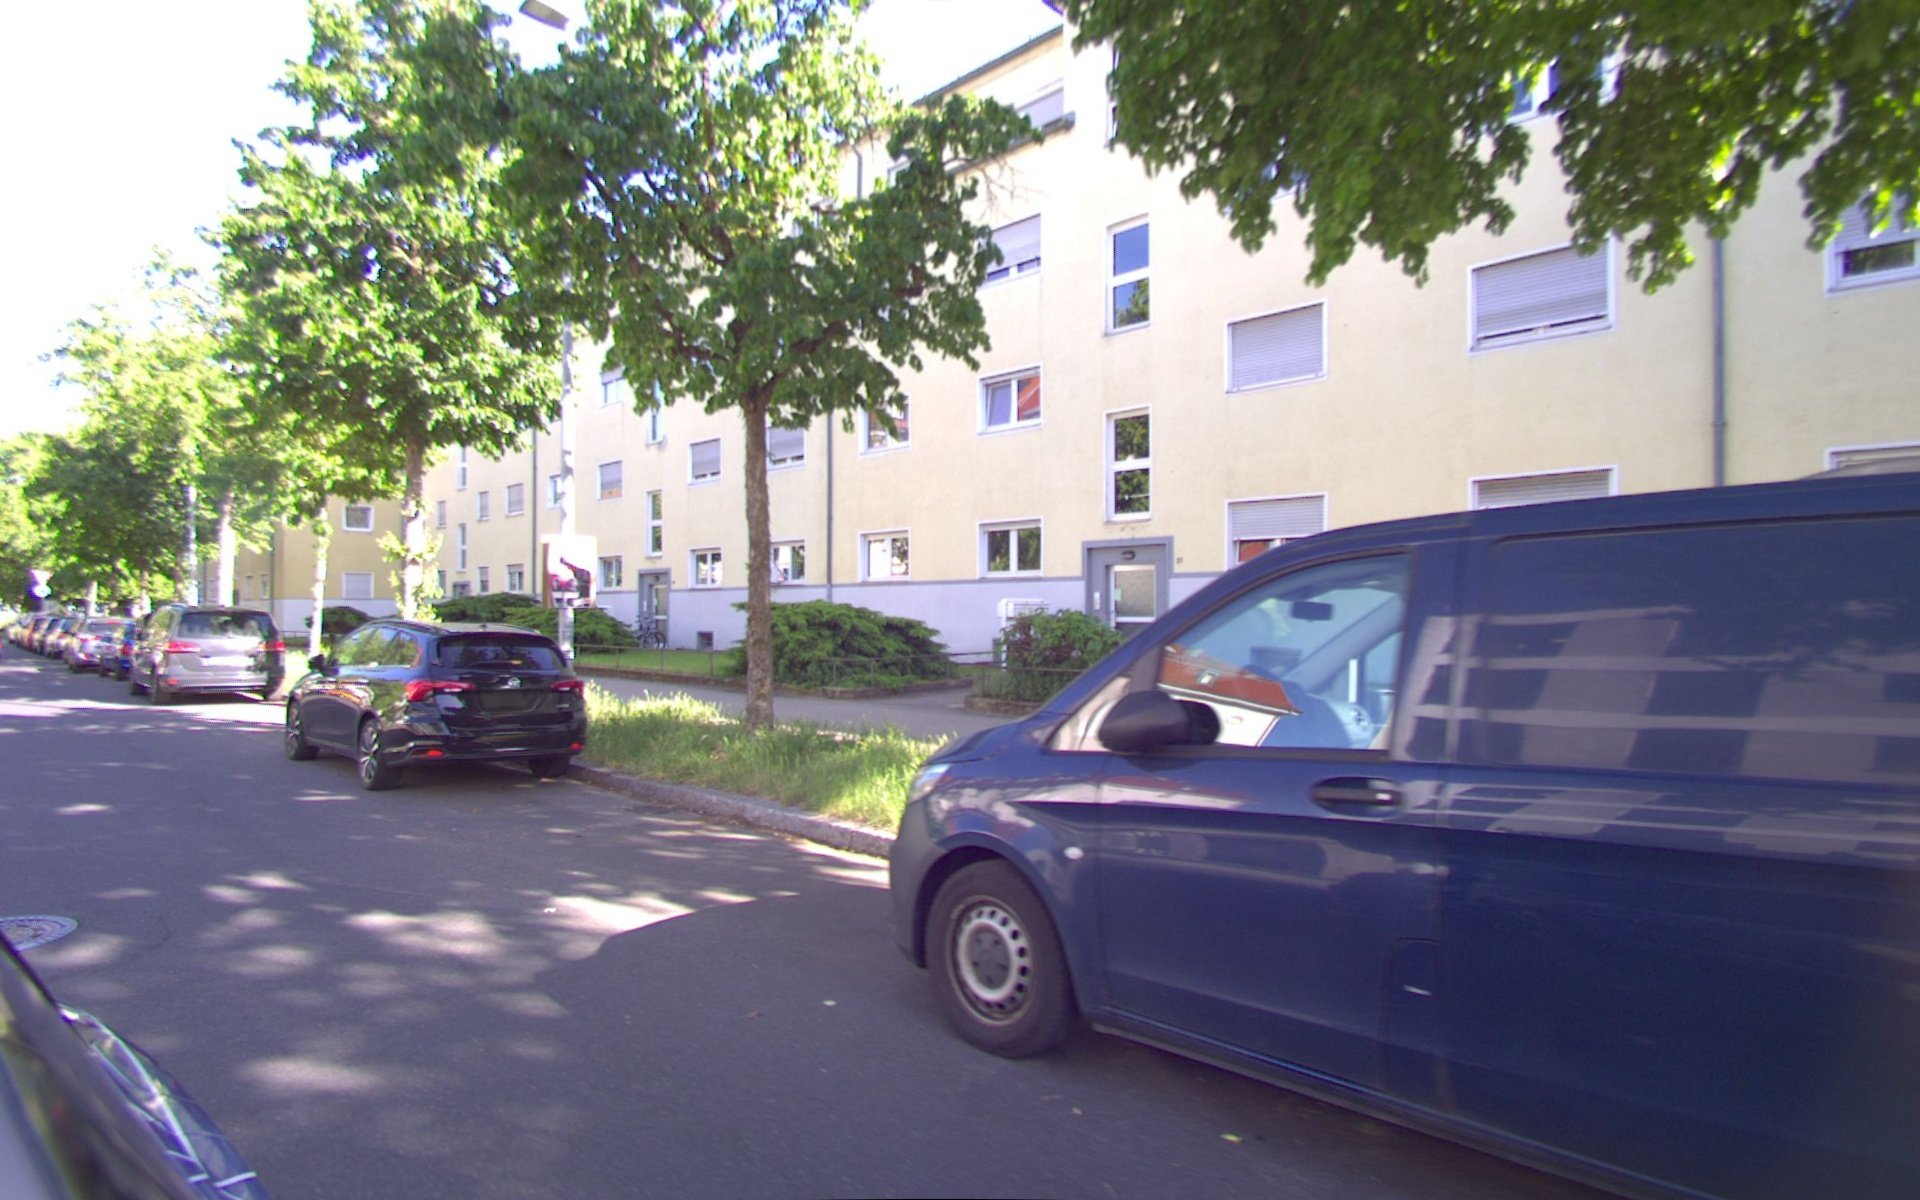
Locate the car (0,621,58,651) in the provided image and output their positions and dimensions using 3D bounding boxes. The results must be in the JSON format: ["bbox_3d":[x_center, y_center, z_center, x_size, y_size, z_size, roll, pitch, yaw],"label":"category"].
[{"bbox_3d":[-47.180,1.781,51.270,3.992,1.453,1.741,-1,-2,41],"label":"car"}]

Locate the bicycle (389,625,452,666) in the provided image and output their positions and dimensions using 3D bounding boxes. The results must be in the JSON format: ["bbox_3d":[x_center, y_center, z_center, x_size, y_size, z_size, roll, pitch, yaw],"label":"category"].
[{"bbox_3d":[-15.242,1.269,28.575,1.832,1.089,0.483,0,1,21],"label":"bicycle"}]

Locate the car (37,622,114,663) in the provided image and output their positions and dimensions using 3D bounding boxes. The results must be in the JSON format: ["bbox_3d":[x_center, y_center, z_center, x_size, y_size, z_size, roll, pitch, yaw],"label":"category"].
[{"bbox_3d":[-31.825,1.498,36.383,4.676,1.379,1.725,-1,-3,45],"label":"car"}]

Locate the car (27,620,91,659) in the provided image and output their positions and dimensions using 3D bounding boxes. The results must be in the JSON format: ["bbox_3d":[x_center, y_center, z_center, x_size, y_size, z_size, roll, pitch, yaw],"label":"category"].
[{"bbox_3d":[-35.788,1.538,40.168,3.934,1.470,1.646,-1,-2,45],"label":"car"}]

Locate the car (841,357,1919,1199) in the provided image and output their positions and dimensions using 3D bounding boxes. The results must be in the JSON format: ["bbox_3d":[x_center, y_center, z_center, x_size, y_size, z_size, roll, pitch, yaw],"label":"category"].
[{"bbox_3d":[1.989,0.558,2.822,1.805,1.919,5.145,3,-3,-45],"label":"car"}]

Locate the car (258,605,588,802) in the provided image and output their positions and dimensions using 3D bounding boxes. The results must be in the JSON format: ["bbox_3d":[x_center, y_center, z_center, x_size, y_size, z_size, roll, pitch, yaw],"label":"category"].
[{"bbox_3d":[-5.610,0.885,10.239,4.780,1.560,1.490,-1,-4,44],"label":"car"}]

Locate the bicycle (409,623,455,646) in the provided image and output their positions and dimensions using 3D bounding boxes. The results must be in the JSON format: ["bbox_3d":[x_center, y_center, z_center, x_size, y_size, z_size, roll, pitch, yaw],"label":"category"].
[{"bbox_3d":[-21.749,1.409,41.732,0.480,0.938,1.617,-1,-2,36],"label":"bicycle"}]

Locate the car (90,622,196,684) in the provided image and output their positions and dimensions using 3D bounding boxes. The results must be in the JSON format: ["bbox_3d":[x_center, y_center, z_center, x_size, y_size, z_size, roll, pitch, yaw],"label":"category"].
[{"bbox_3d":[-20.127,1.245,24.886,3.727,1.406,1.504,-1,-2,43],"label":"car"}]

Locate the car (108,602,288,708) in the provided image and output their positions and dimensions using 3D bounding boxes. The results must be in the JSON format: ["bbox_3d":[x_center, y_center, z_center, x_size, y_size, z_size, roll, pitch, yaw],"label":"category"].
[{"bbox_3d":[-14.125,0.977,18.641,4.978,1.693,1.828,-1,-4,44],"label":"car"}]

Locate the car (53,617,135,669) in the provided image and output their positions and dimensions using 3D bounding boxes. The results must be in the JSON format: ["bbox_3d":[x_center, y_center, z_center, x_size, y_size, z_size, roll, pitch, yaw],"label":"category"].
[{"bbox_3d":[-27.600,1.343,32.210,1.601,1.527,4.271,4,-4,-44],"label":"car"}]

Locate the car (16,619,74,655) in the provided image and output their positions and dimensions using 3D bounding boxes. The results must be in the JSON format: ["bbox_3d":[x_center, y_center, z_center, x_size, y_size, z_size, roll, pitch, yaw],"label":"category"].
[{"bbox_3d":[-39.363,1.578,43.522,3.257,1.497,1.646,-1,-2,45],"label":"car"}]

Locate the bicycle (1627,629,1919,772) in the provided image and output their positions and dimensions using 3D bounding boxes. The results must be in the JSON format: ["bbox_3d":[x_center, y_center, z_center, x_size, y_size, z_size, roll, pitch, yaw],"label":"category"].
[{"bbox_3d":[6.430,0.732,7.924,1.929,0.999,0.588,-1,-2,45],"label":"bicycle"}]

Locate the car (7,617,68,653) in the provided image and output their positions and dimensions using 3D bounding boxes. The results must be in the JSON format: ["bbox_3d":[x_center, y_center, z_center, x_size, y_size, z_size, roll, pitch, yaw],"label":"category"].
[{"bbox_3d":[-42.637,1.603,46.733,4.735,1.577,1.673,-1,-2,43],"label":"car"}]

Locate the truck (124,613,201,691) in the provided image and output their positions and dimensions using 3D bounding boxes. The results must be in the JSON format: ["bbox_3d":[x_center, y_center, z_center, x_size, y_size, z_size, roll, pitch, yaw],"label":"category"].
[{"bbox_3d":[-17.339,1.100,21.979,1.071,1.589,2.434,1,-2,-43],"label":"truck"}]

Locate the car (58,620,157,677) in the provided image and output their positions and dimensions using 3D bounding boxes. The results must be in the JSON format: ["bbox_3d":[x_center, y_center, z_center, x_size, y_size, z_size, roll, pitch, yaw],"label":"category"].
[{"bbox_3d":[-23.739,1.319,28.122,1.770,1.455,4.692,3,-3,-44],"label":"car"}]
